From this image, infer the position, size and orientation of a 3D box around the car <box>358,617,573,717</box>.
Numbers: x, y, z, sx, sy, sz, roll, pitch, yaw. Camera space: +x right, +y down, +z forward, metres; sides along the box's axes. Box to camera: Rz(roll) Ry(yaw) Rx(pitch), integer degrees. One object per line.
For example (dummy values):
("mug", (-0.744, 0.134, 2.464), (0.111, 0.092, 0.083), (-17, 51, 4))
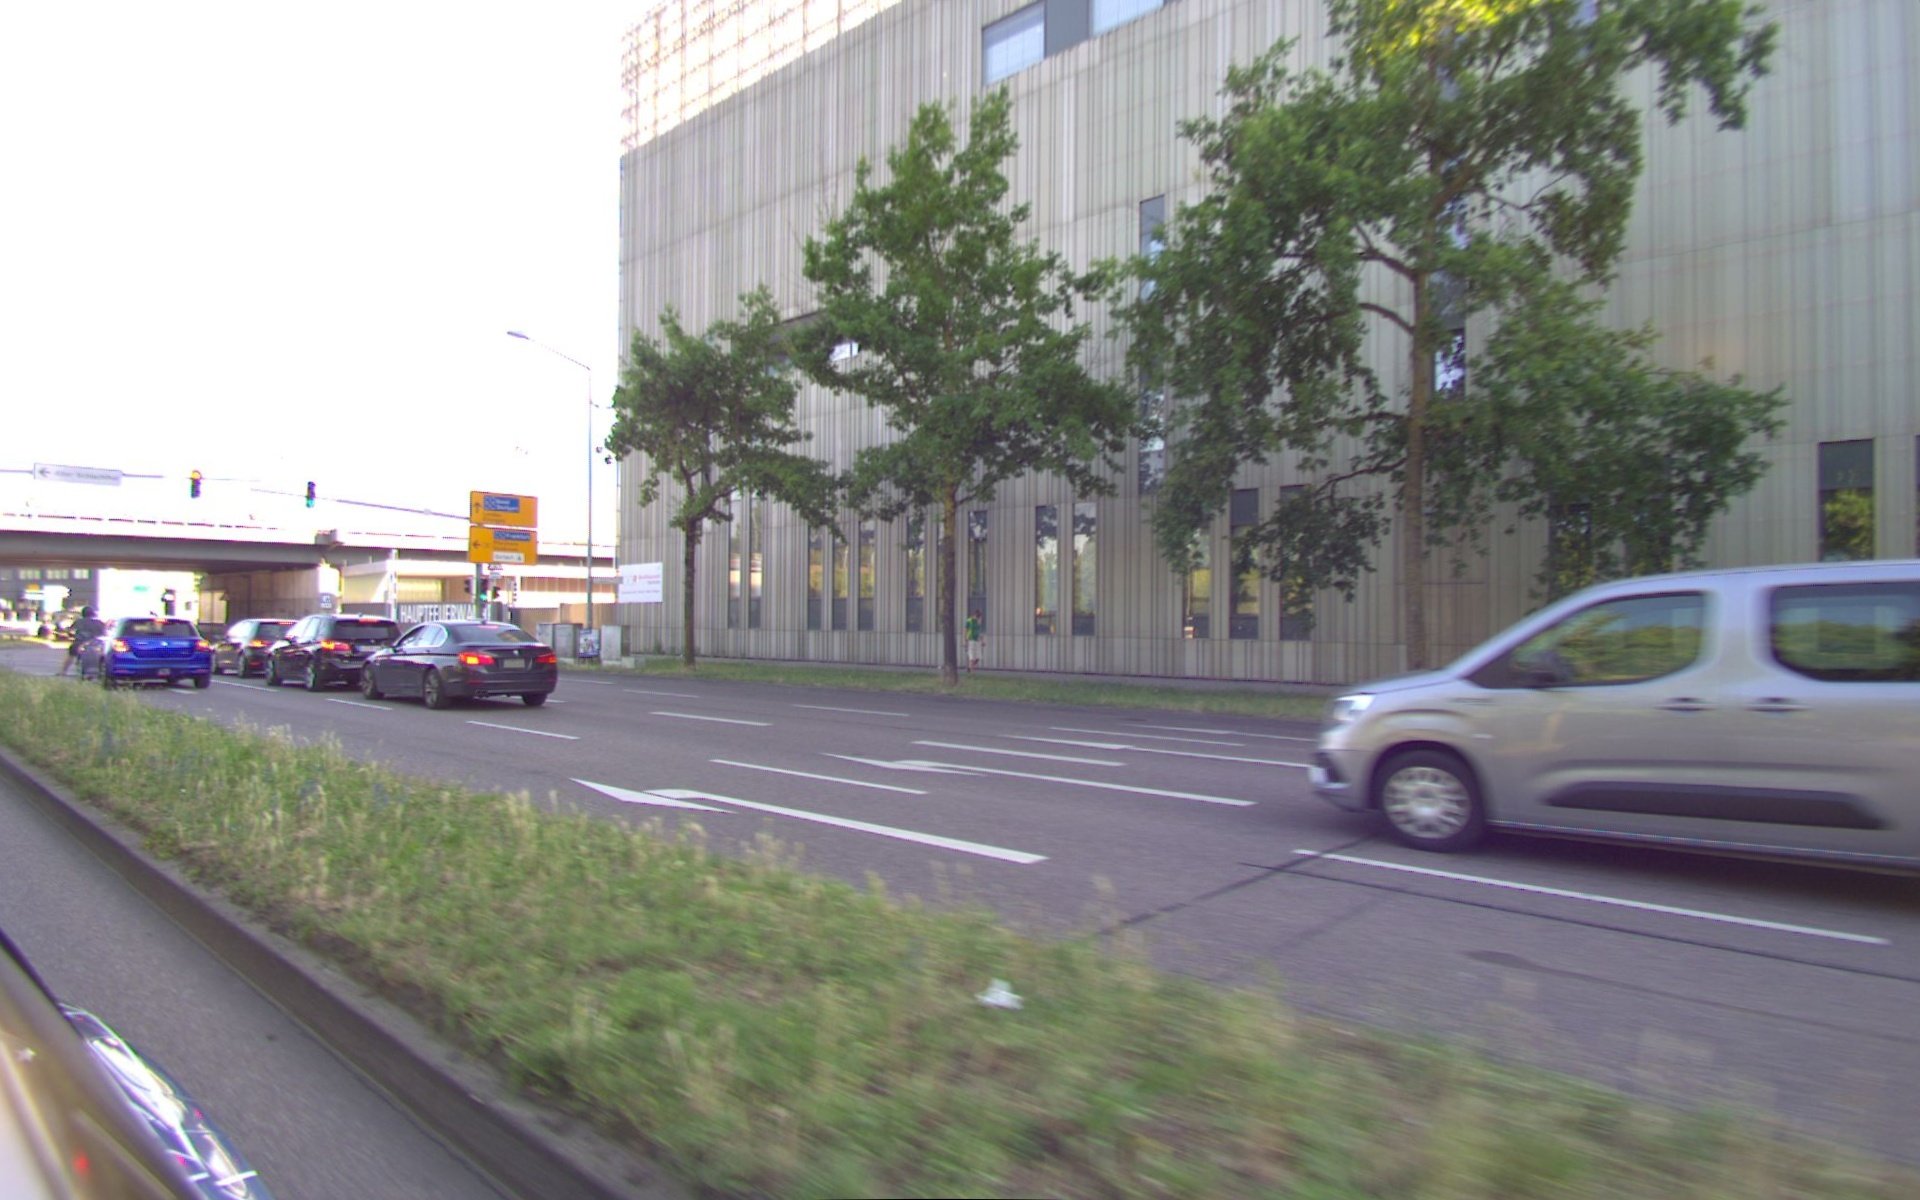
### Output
("car", (-8.676, 1.086, 17.601), (4.289, 1.530, 1.904), (-1, -3, 42))

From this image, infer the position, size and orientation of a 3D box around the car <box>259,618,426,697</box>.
("car", (-13.170, 1.165, 21.505), (3.998, 1.530, 1.905), (-1, -3, 41))

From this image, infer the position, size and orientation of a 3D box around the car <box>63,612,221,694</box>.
("car", (-16.977, 1.054, 20.954), (3.949, 1.530, 1.817), (-1, -3, 40))

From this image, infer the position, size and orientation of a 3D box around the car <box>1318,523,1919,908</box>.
("car", (4.687, 0.587, 6.048), (4.400, 1.830, 1.972), (-1, -3, 42))

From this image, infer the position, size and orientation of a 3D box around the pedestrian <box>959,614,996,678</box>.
("pedestrian", (0.461, 1.205, 26.680), (0.725, 1.641, 0.689), (-1, -2, 41))

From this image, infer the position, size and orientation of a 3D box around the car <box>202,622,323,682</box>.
("car", (-17.998, 1.303, 26.074), (3.770, 1.444, 1.673), (-1, -3, 41))

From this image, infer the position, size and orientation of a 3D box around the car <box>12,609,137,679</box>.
("car", (-22.392, 1.083, 25.539), (3.999, 1.617, 1.904), (-1, -3, 42))
